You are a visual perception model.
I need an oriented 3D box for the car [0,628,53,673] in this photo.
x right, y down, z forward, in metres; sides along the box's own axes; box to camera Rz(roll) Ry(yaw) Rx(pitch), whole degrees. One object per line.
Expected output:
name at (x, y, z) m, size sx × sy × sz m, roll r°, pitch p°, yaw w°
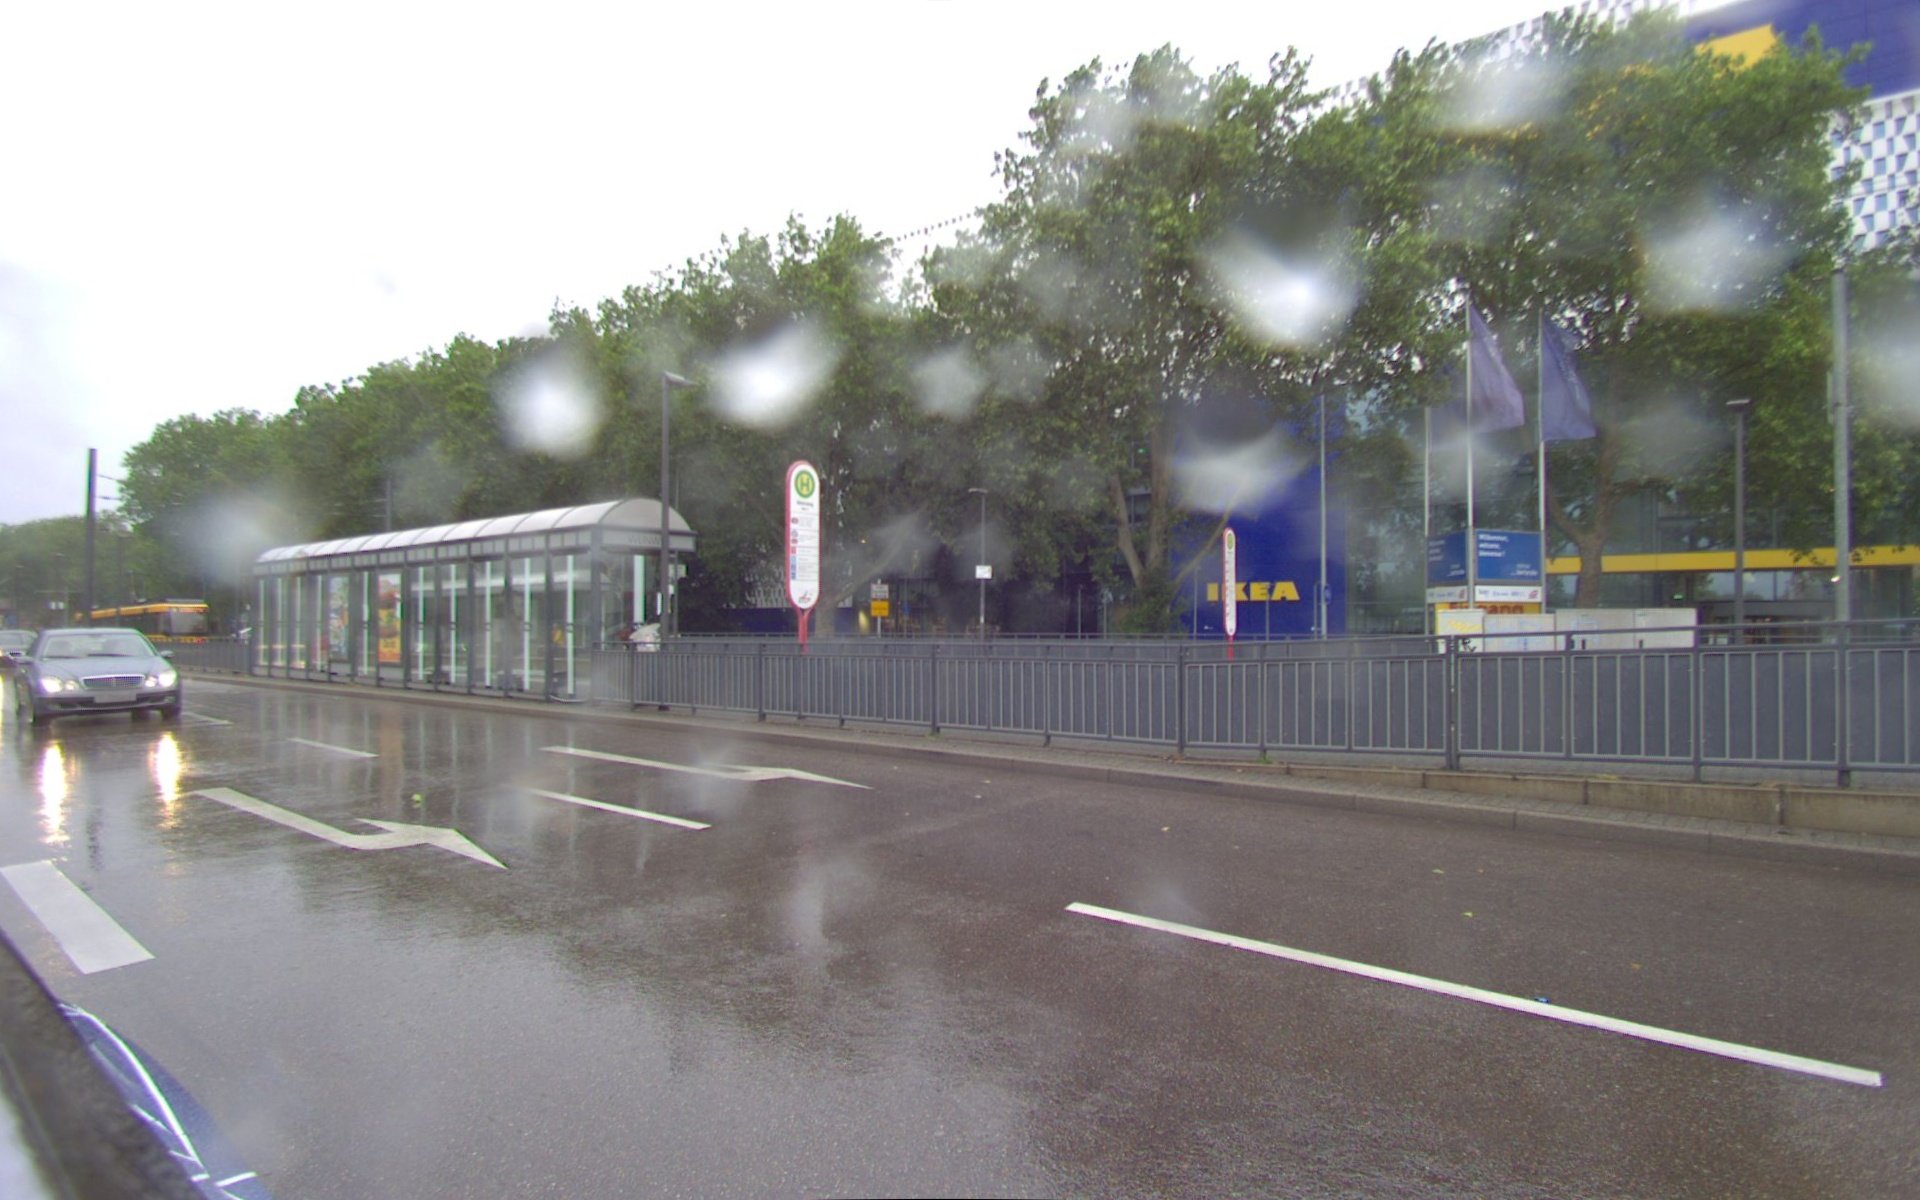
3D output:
car at (-35.003, 1.837, 37.430) m, size 4.596 × 1.512 × 1.752 m, roll -1°, pitch 0°, yaw 43°

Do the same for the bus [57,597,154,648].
bus at (-62.096, 1.548, 73.315) m, size 15.051 × 3.354 × 2.901 m, roll -1°, pitch 0°, yaw 40°

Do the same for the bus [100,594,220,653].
bus at (-50.513, 1.423, 63.632) m, size 15.049 × 3.354 × 2.902 m, roll -1°, pitch 0°, yaw 40°

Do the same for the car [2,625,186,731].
car at (-14.108, 1.148, 16.390) m, size 4.645 × 1.409 × 1.743 m, roll -1°, pitch 0°, yaw 43°
